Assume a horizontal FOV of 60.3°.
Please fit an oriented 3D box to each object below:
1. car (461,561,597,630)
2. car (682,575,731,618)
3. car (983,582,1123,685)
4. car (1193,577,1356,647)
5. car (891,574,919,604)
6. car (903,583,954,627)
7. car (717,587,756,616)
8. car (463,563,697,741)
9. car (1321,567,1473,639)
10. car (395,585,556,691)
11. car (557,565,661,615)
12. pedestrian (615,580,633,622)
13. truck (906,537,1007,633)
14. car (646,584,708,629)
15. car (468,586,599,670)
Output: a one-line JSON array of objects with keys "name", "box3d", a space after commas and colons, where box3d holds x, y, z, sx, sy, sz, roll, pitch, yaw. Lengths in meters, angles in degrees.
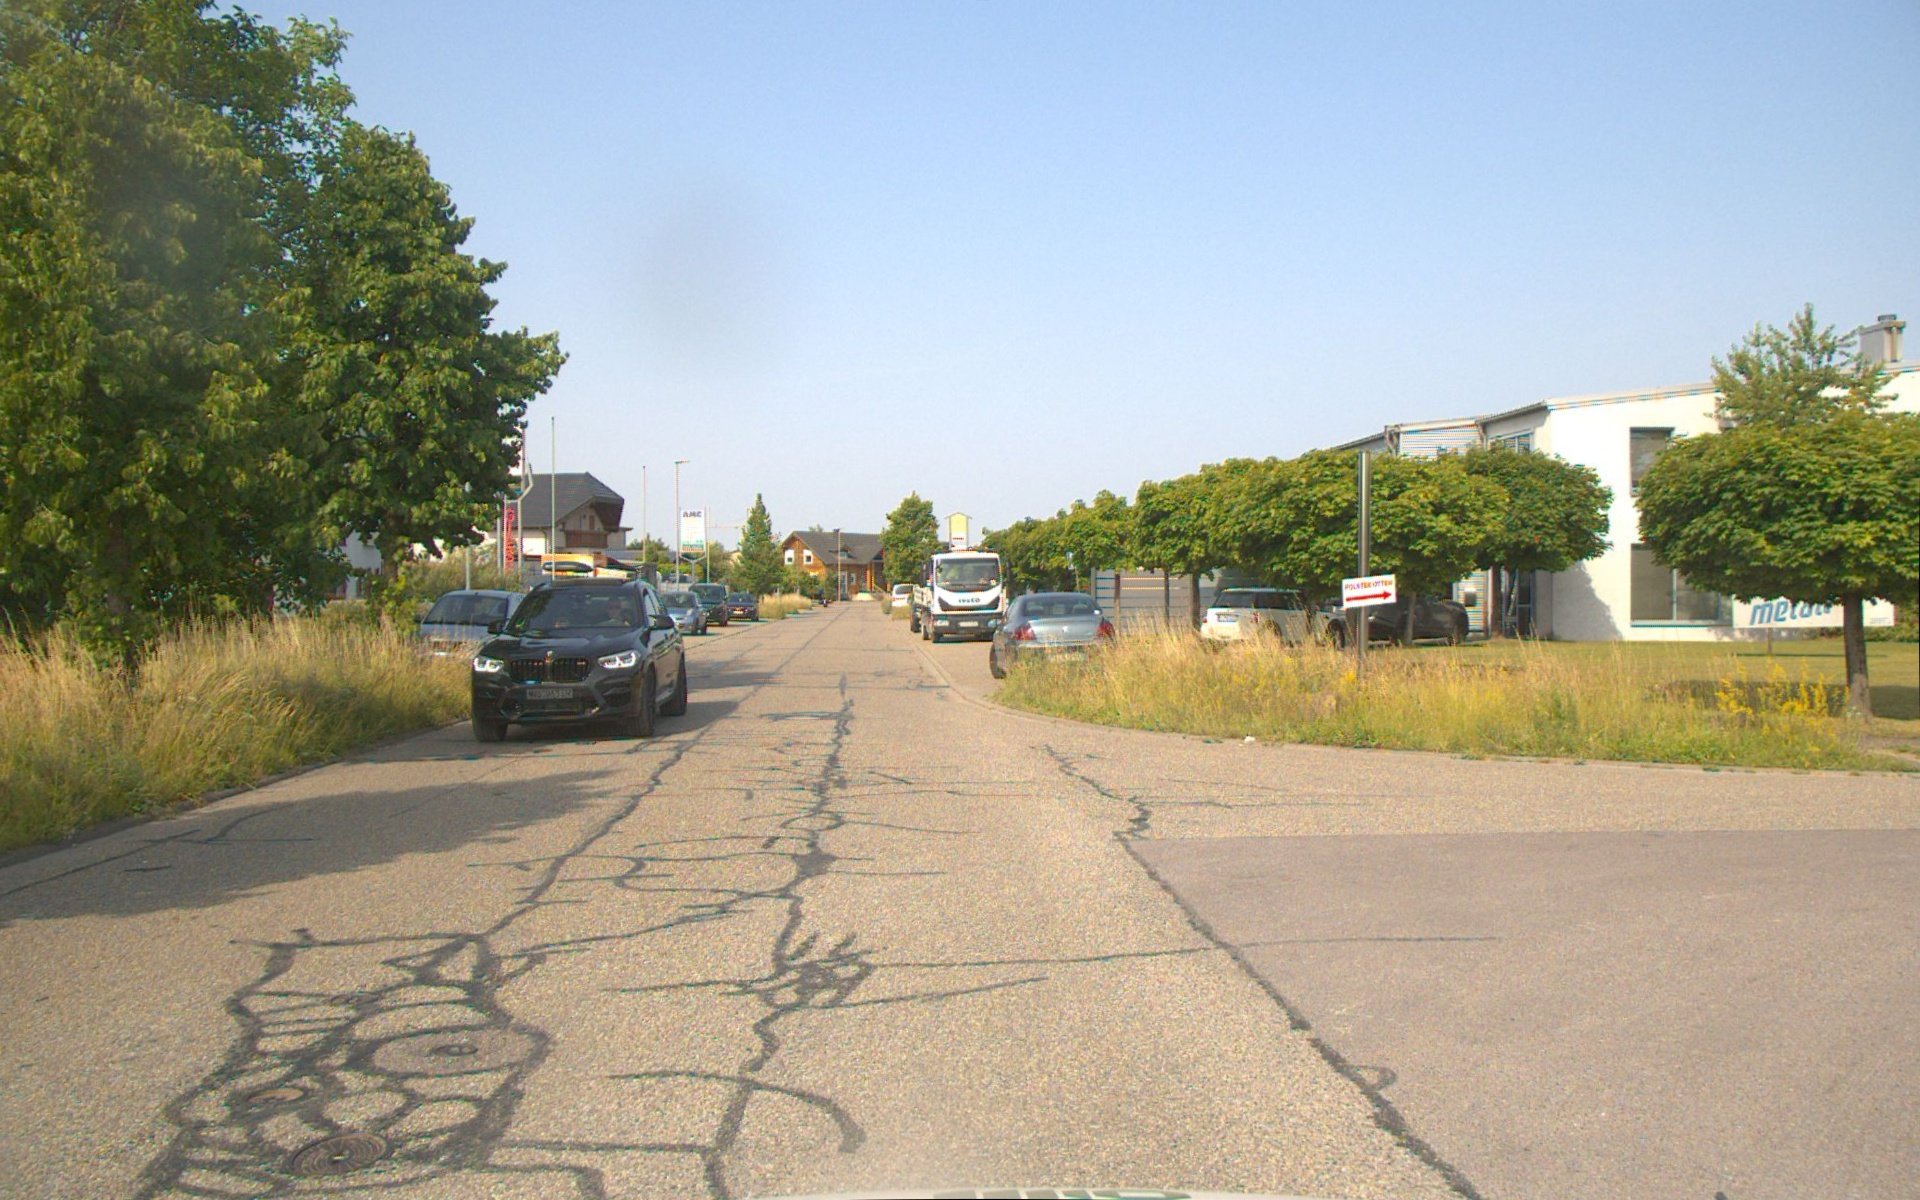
[{"name": "car", "box3d": [-16.063, -0.180, 61.789, 4.533, 2.459, 2.000, -1, 0, -2]}, {"name": "car", "box3d": [-11.126, -0.182, 72.794, 1.764, 1.805, 4.199, 1, 0, -4]}, {"name": "car", "box3d": [1.423, 0.487, 26.983, 1.758, 1.544, 4.421, 0, 0, -4]}, {"name": "car", "box3d": [6.864, 0.240, 35.947, 3.668, 1.404, 1.661, -1, 1, -43]}, {"name": "car", "box3d": [-3.767, -0.770, 112.537, 1.801, 1.957, 3.754, -1, 0, -3]}, {"name": "car", "box3d": [-1.216, 0.157, 62.401, 1.759, 1.588, 3.997, -1, 0, -4]}, {"name": "car", "box3d": [-11.524, 0.057, 85.469, 1.764, 1.411, 3.635, 1, 0, -4]}, {"name": "car", "box3d": [-4.201, 0.507, 18.932, 1.819, 1.744, 4.224, -2, 1, -3]}, {"name": "car", "box3d": [10.495, 0.089, 39.522, 1.657, 1.617, 4.506, 1, 0, 42]}, {"name": "car", "box3d": [-7.776, 0.565, 26.847, 1.534, 1.565, 3.687, 1, 0, -1]}, {"name": "car", "box3d": [-19.624, -0.554, 92.631, 5.048, 2.631, 2.578, -1, 0, 17]}, {"name": "pedestrian", "box3d": [-14.082, 0.055, 69.290, 0.559, 1.745, 0.526, -1, 0, -41]}, {"name": "truck", "box3d": [-0.193, -0.448, 50.706, 2.314, 2.728, 6.501, -1, 0, -7]}, {"name": "car", "box3d": [-9.983, 0.216, 58.631, 1.600, 1.544, 3.605, 1, 0, -1]}, {"name": "car", "box3d": [-8.075, 0.489, 31.612, 1.547, 1.469, 3.962, 1, 0, -2]}]
